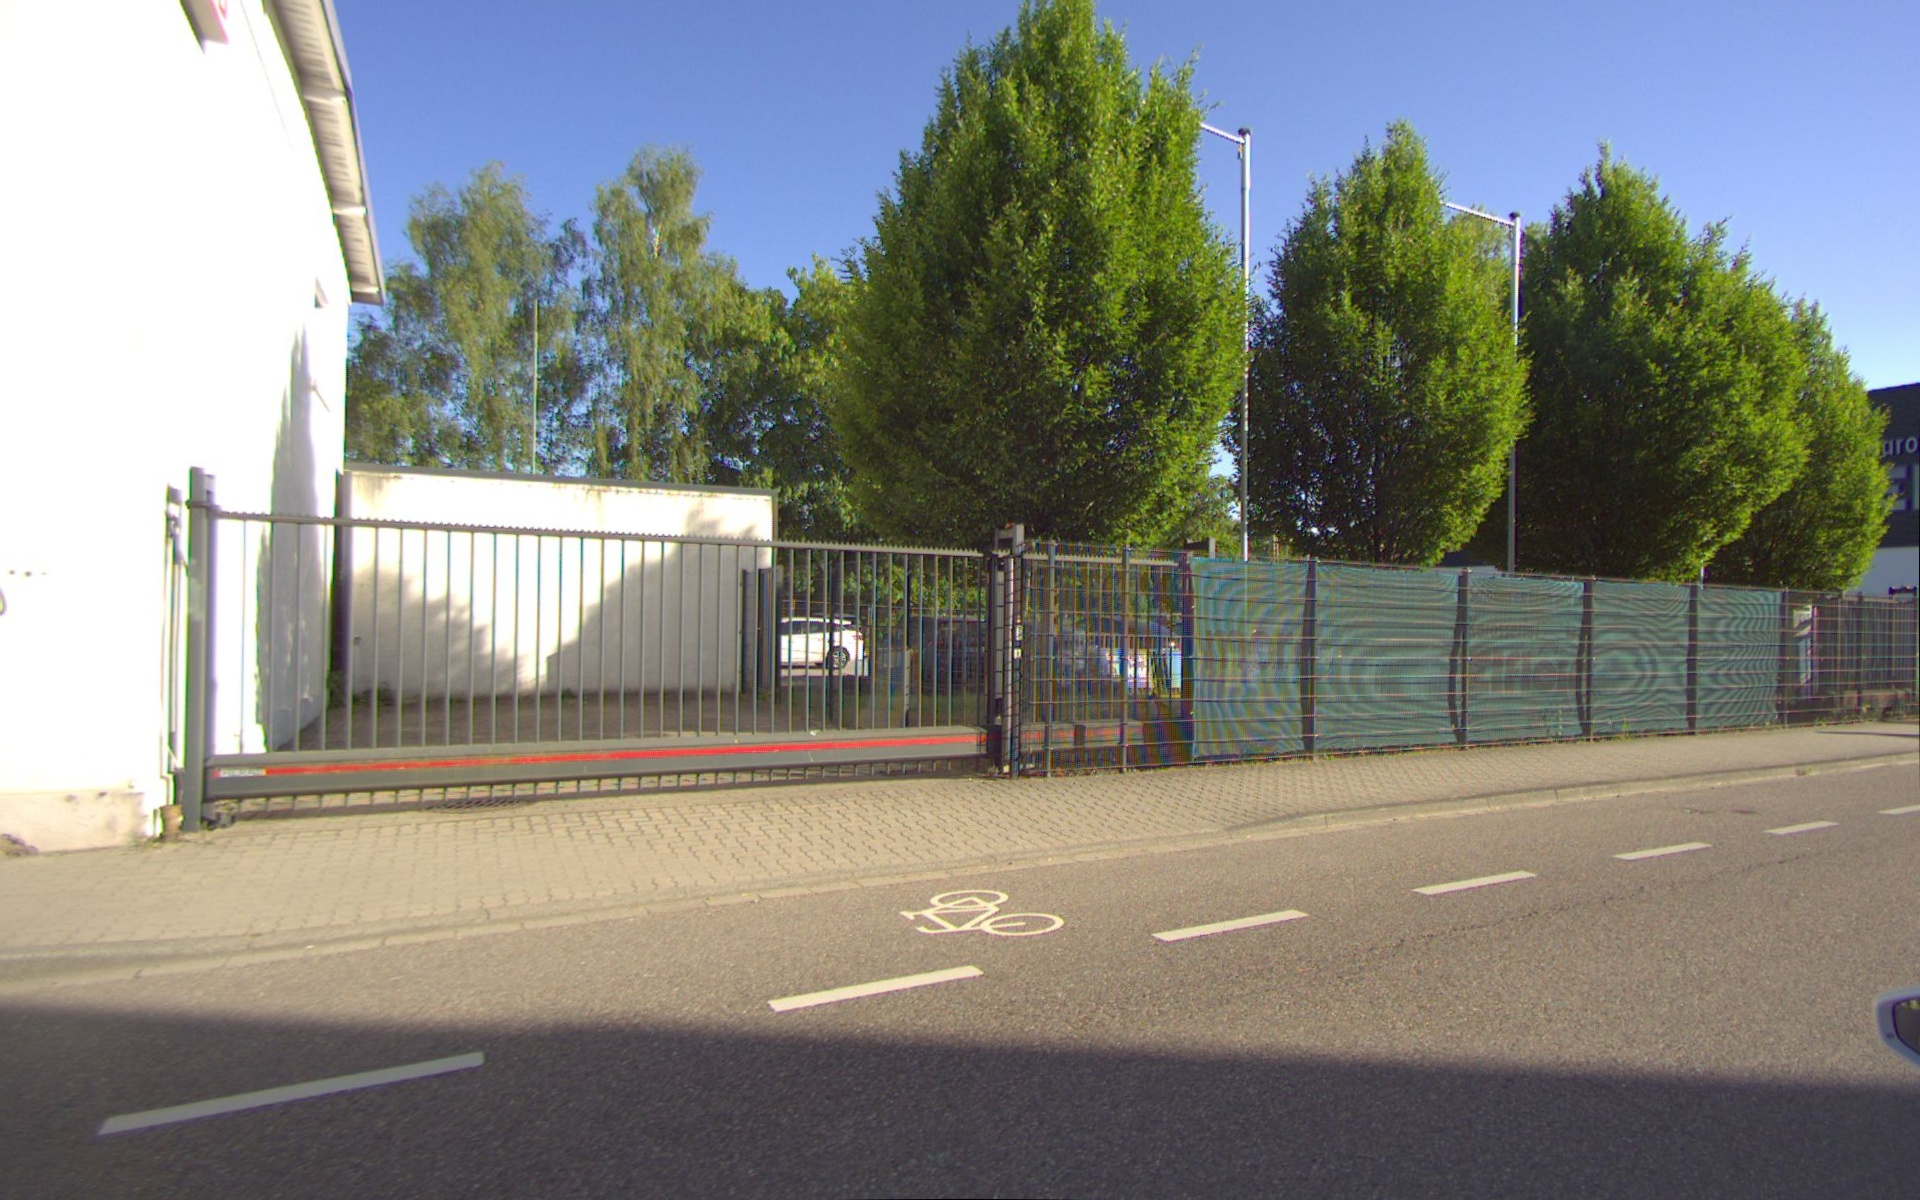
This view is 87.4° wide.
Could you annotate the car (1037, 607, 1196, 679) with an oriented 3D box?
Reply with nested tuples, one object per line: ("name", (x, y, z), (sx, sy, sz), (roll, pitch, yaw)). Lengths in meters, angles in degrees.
("car", (3.635, 1.018, 24.066), (1.851, 1.560, 3.974), (1, -2, -26))

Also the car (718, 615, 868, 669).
("car", (-4.815, 1.203, 28.925), (3.945, 1.476, 1.771), (1, -1, -25))

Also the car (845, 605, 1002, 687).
("car", (-0.865, 0.947, 21.133), (1.851, 1.560, 3.974), (1, -2, -26))
